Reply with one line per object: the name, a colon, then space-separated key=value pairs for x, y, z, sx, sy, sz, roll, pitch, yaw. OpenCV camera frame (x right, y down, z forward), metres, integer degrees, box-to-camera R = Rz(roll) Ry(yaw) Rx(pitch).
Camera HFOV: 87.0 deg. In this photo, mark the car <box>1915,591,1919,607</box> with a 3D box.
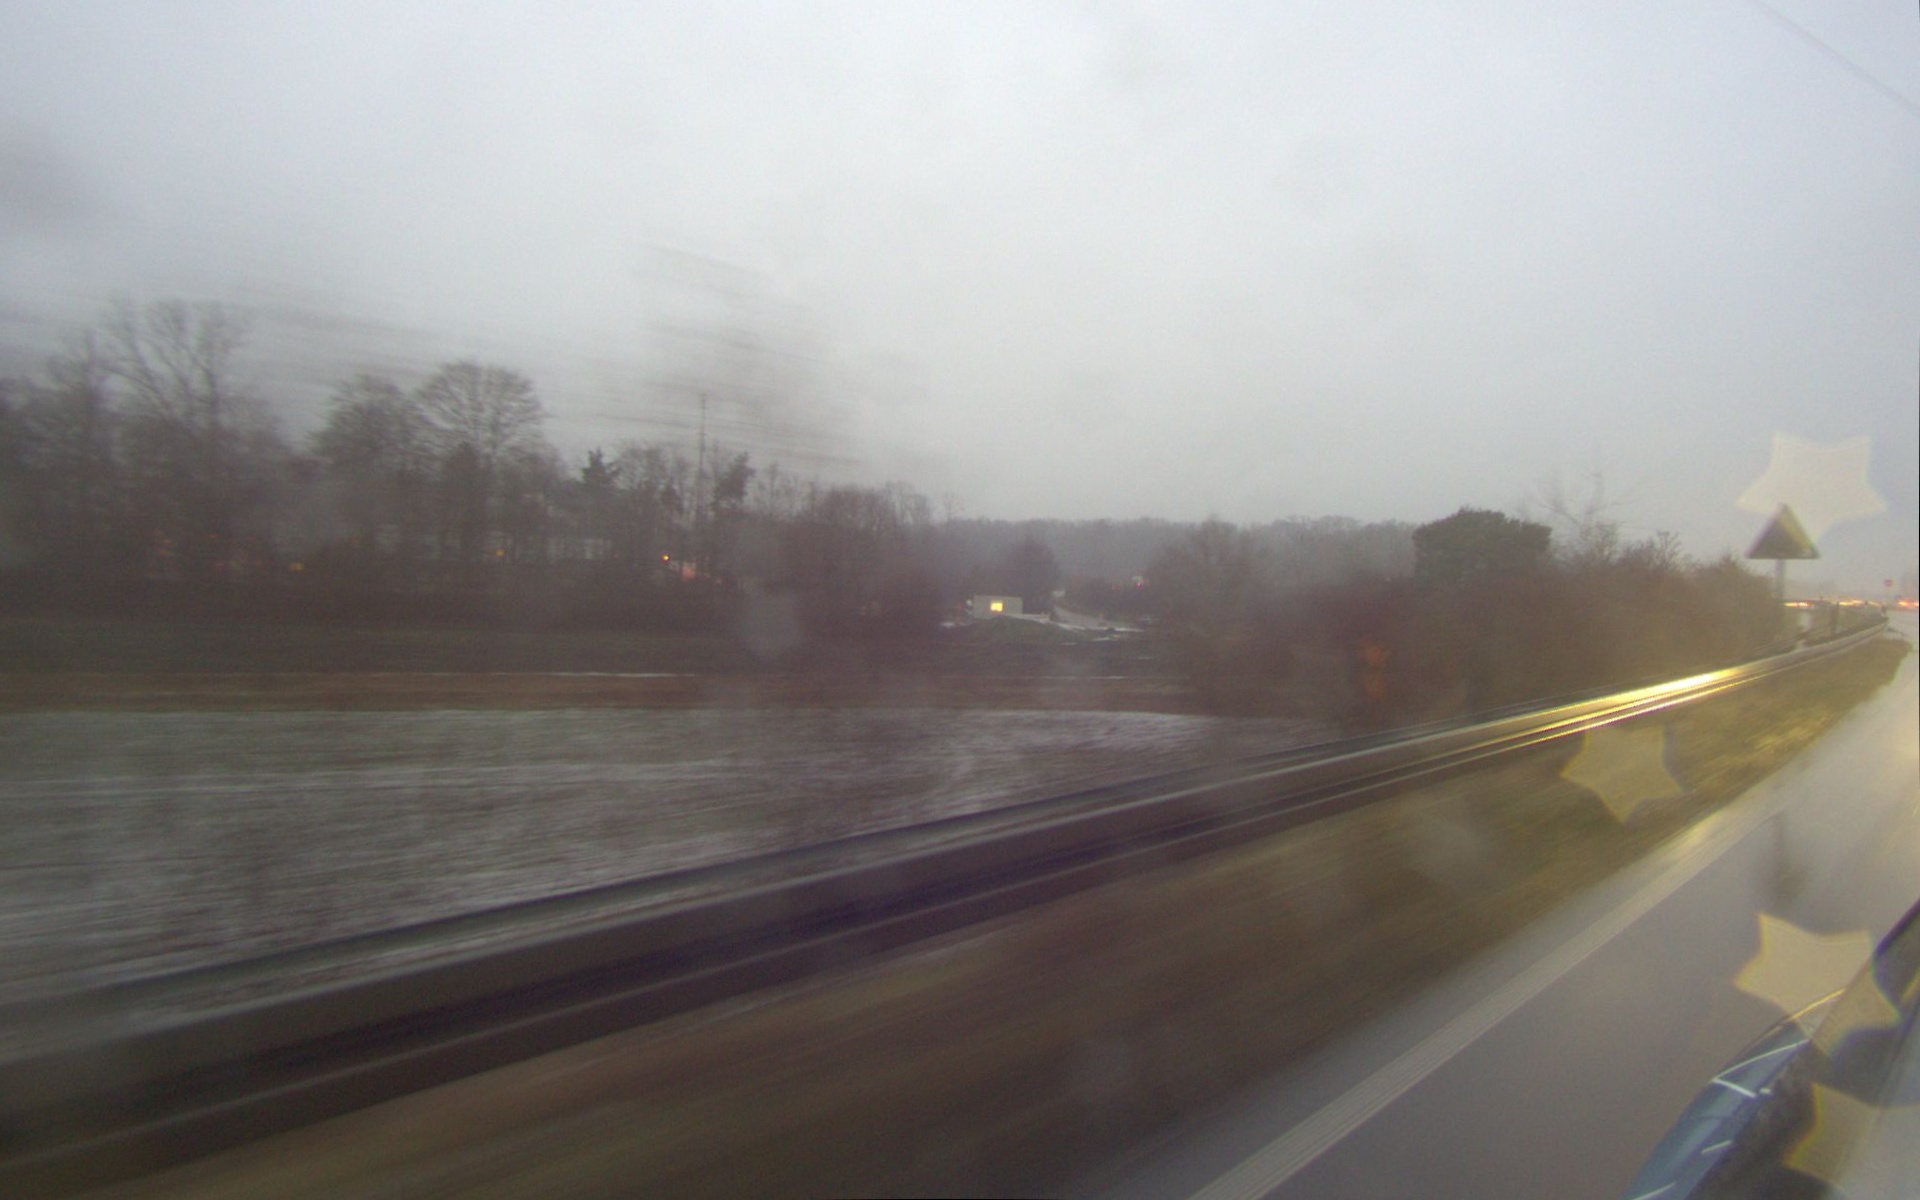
car: x=106.502 y=-0.022 z=111.291 sx=3.793 sy=1.652 sz=1.917 roll=3 pitch=2 yaw=-43
